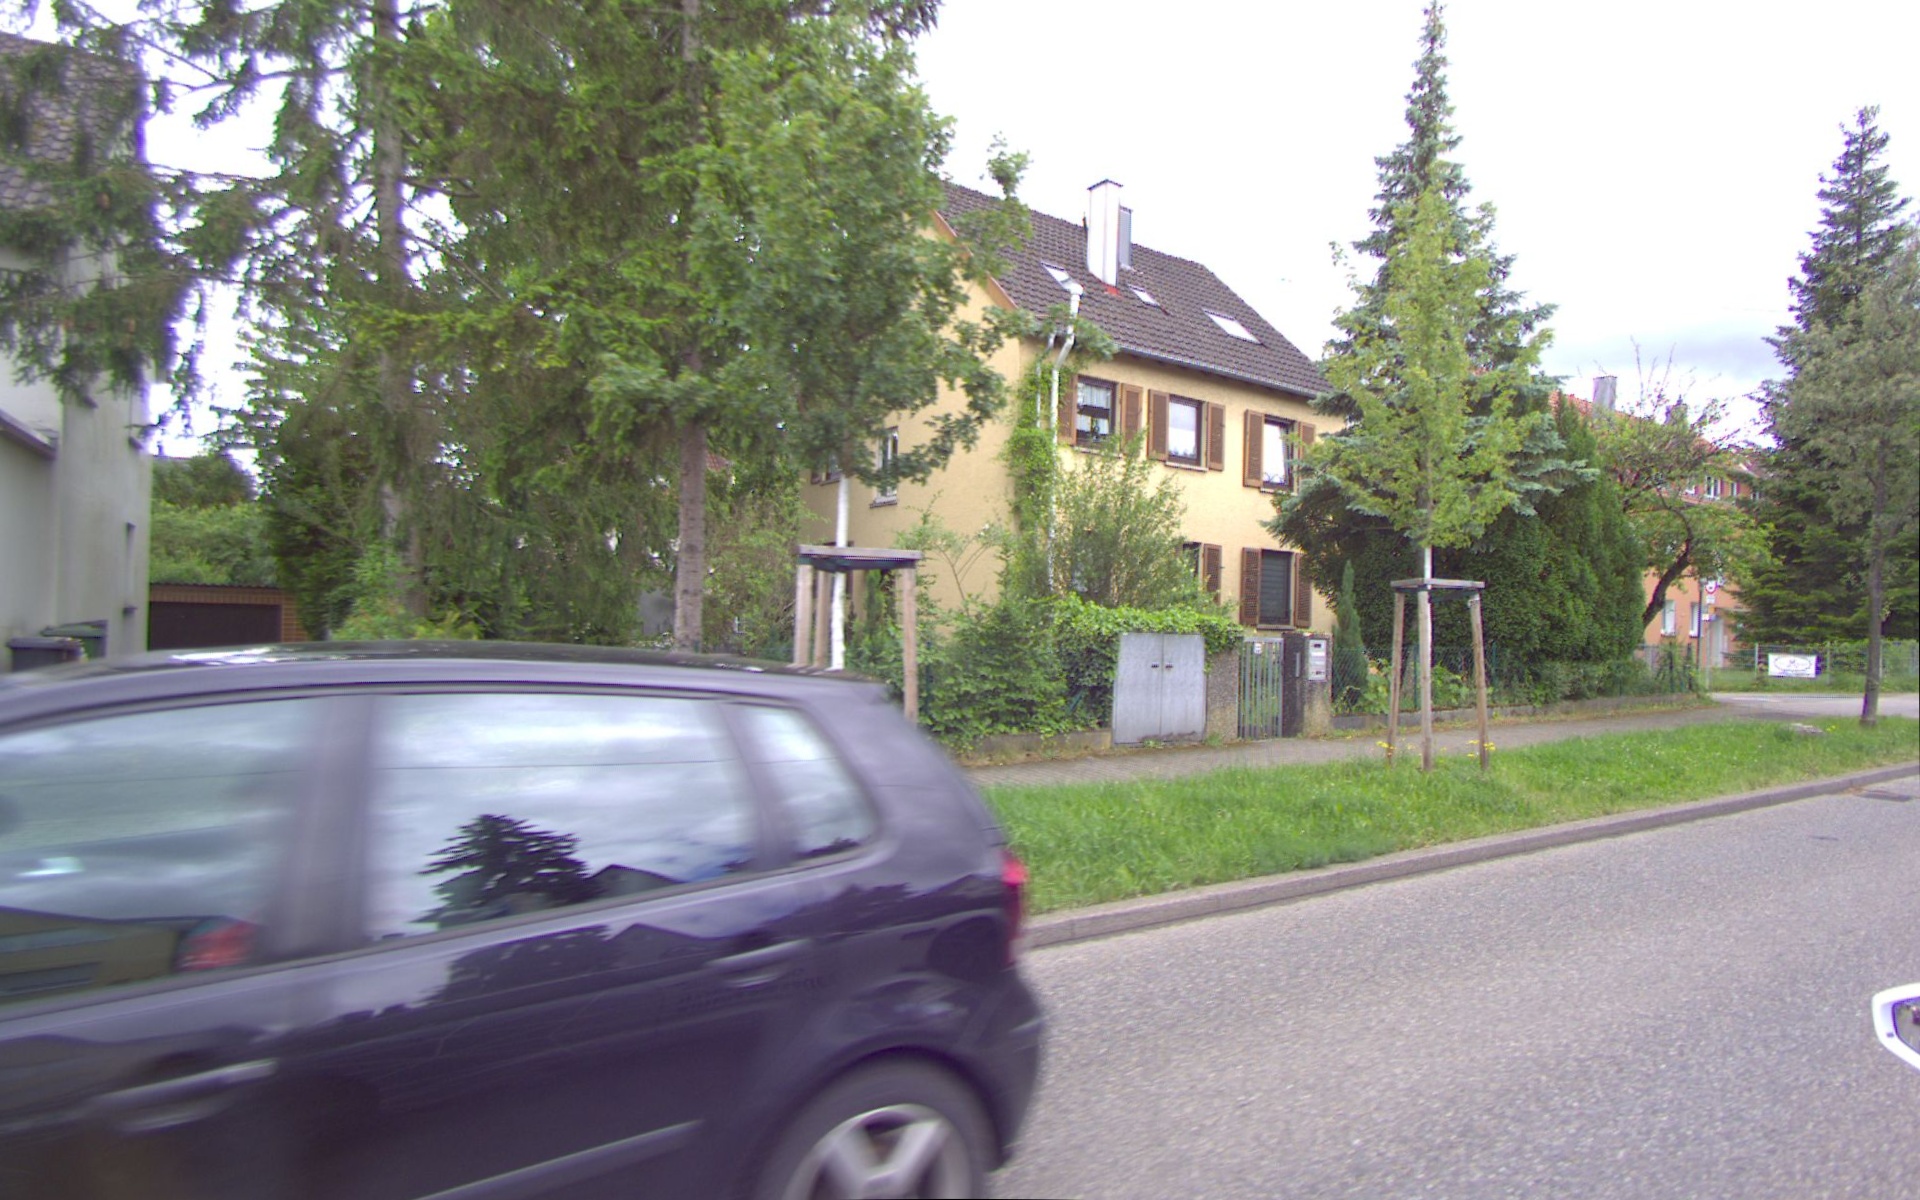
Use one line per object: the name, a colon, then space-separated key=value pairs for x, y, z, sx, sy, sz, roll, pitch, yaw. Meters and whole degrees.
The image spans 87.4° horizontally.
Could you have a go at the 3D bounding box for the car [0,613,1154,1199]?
car: x=-1.402 y=0.790 z=2.146 sx=3.432 sy=1.492 sz=1.566 roll=1 pitch=-1 yaw=-32
